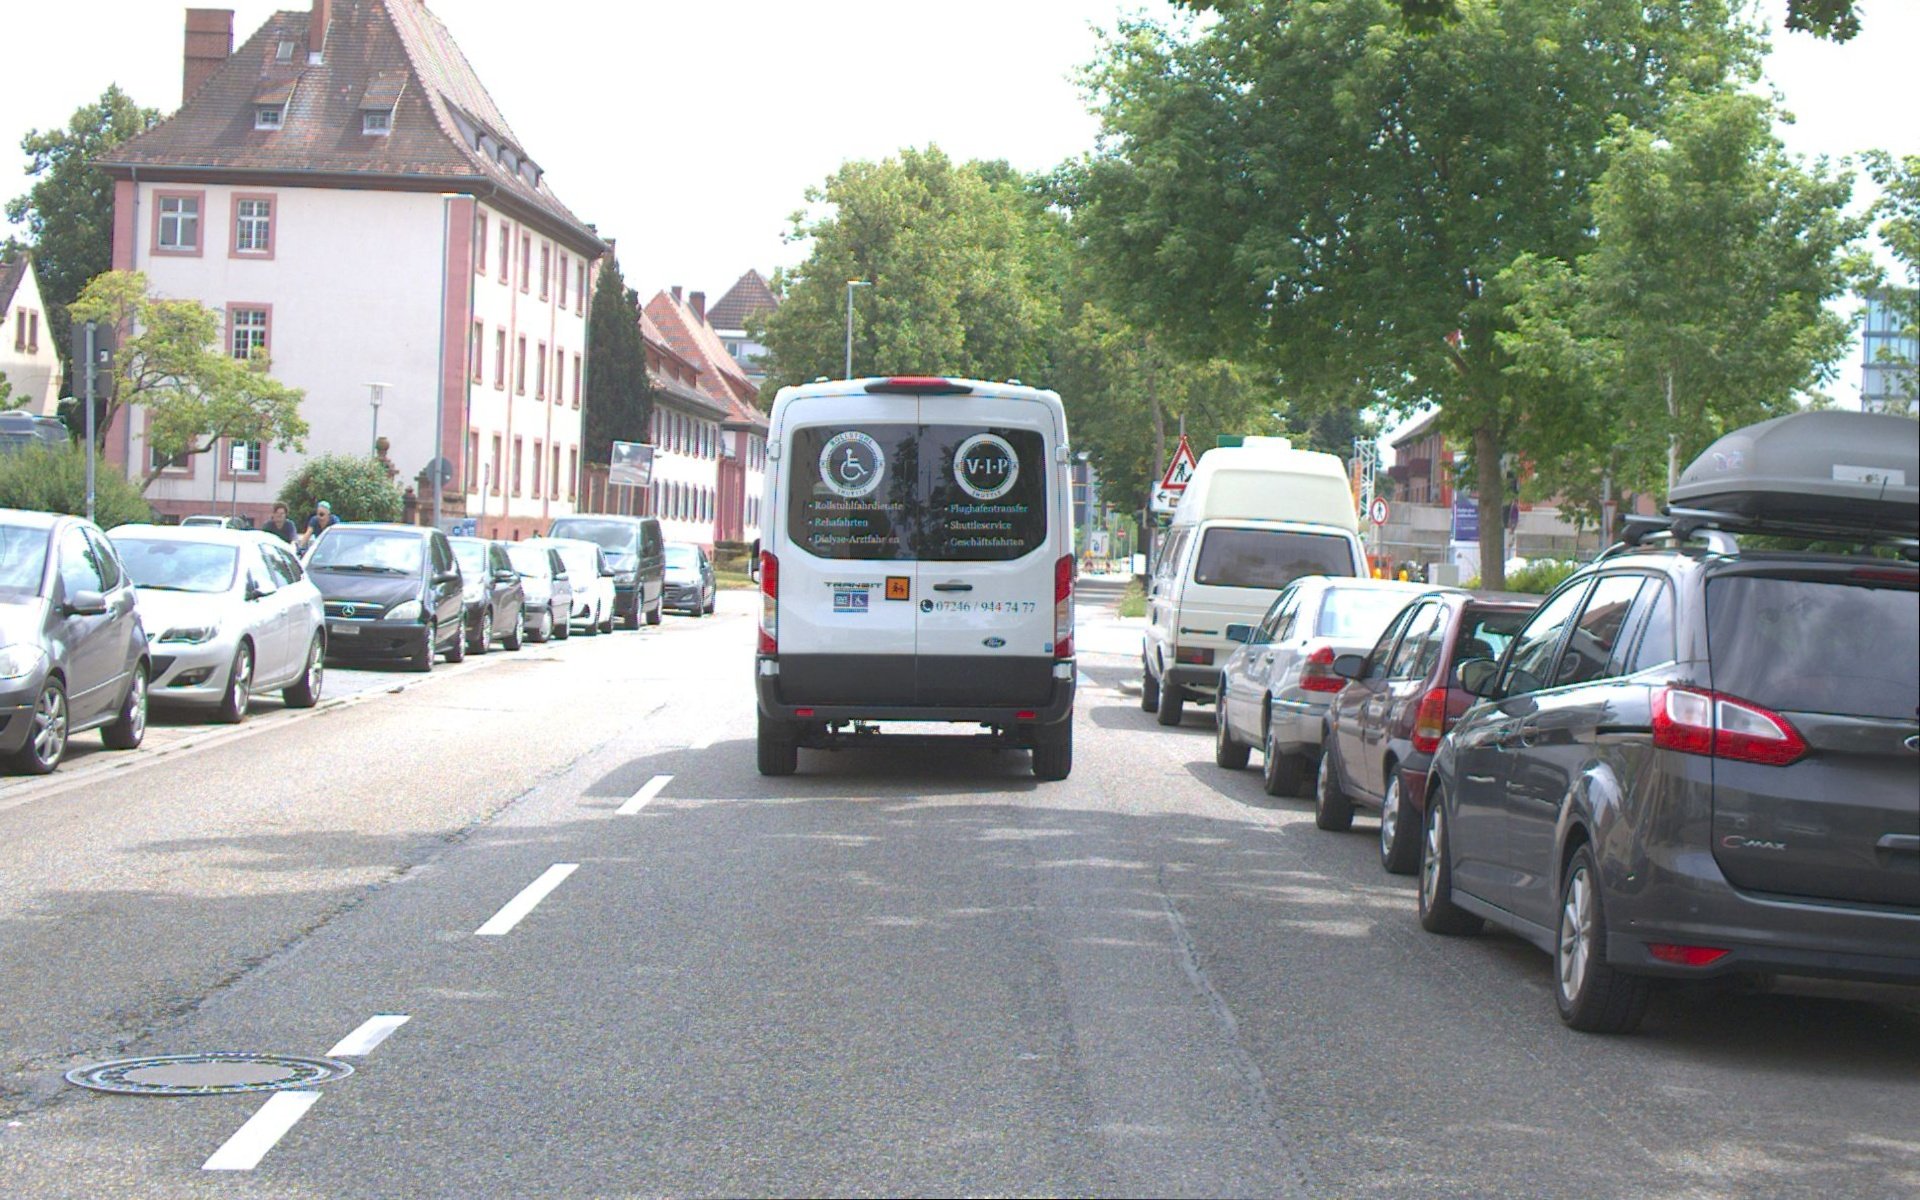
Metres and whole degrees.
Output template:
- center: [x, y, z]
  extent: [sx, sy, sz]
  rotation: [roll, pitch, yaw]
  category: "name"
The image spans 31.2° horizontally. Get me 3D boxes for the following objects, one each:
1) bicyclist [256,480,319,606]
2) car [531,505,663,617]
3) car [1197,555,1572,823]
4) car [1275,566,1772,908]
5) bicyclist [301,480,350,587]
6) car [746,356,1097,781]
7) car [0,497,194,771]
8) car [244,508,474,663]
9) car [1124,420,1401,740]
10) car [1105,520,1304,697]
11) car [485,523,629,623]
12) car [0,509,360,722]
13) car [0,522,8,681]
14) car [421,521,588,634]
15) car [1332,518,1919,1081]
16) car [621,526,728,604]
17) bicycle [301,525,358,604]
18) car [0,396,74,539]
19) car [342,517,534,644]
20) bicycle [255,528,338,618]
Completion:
- center: [-8.950, -0.765, 45.777]
  extent: [0.537, 1.647, 1.047]
  rotation: [1, 1, 4]
  category: "bicyclist"
- center: [-6.394, -0.708, 60.933]
  extent: [1.786, 1.820, 3.974]
  rotation: [3, 1, 0]
  category: "car"
- center: [2.737, 0.510, 23.154]
  extent: [1.680, 1.464, 4.556]
  rotation: [5, 1, -2]
  category: "car"
- center: [2.857, 0.630, 18.299]
  extent: [1.712, 1.459, 4.001]
  rotation: [4, 1, -3]
  category: "car"
- center: [-9.524, -0.995, 51.622]
  extent: [0.536, 1.580, 0.691]
  rotation: [1, 1, 3]
  category: "bicyclist"
- center: [-0.322, -0.215, 23.079]
  extent: [2.070, 2.531, 4.635]
  rotation: [1, 1, -2]
  category: "car"
- center: [-6.344, 0.125, 22.239]
  extent: [1.885, 1.574, 4.154]
  rotation: [3, 1, -2]
  category: "car"
- center: [-6.645, -0.188, 38.362]
  extent: [1.786, 1.538, 3.861]
  rotation: [3, 1, 0]
  category: "car"
- center: [2.685, -0.206, 31.613]
  extent: [1.897, 2.578, 4.829]
  rotation: [4, 1, 0]
  category: "car"
- center: [2.608, 0.054, 37.499]
  extent: [1.712, 1.689, 4.001]
  rotation: [4, 1, -1]
  category: "car"
- center: [-6.501, -0.457, 55.805]
  extent: [1.786, 1.477, 3.861]
  rotation: [3, 1, 0]
  category: "car"
- center: [-6.323, 0.073, 27.967]
  extent: [1.886, 1.483, 4.633]
  rotation: [3, 1, 1]
  category: "car"
- center: [-6.254, 0.301, 17.073]
  extent: [1.741, 1.491, 4.786]
  rotation: [3, 1, -1]
  category: "car"
- center: [-6.506, -0.342, 49.496]
  extent: [1.786, 1.457, 3.861]
  rotation: [3, 1, 0]
  category: "car"
- center: [2.857, 0.599, 13.215]
  extent: [1.927, 1.655, 5.326]
  rotation: [4, 1, -3]
  category: "car"
- center: [-5.872, -0.745, 71.129]
  extent: [1.786, 1.477, 3.861]
  rotation: [3, 1, 0]
  category: "car"
- center: [-9.519, -0.544, 51.938]
  extent: [0.541, 1.171, 1.349]
  rotation: [1, 1, 3]
  category: "bicycle"
- center: [-17.436, -2.296, 57.947]
  extent: [4.409, 2.340, 2.000]
  rotation: [2, 2, 1]
  category: "car"
- center: [-6.674, -0.276, 44.323]
  extent: [1.786, 1.457, 3.861]
  rotation: [3, 1, 0]
  category: "car"
- center: [-8.924, -0.369, 46.300]
  extent: [0.541, 1.171, 2.091]
  rotation: [1, 1, 4]
  category: "bicycle"
